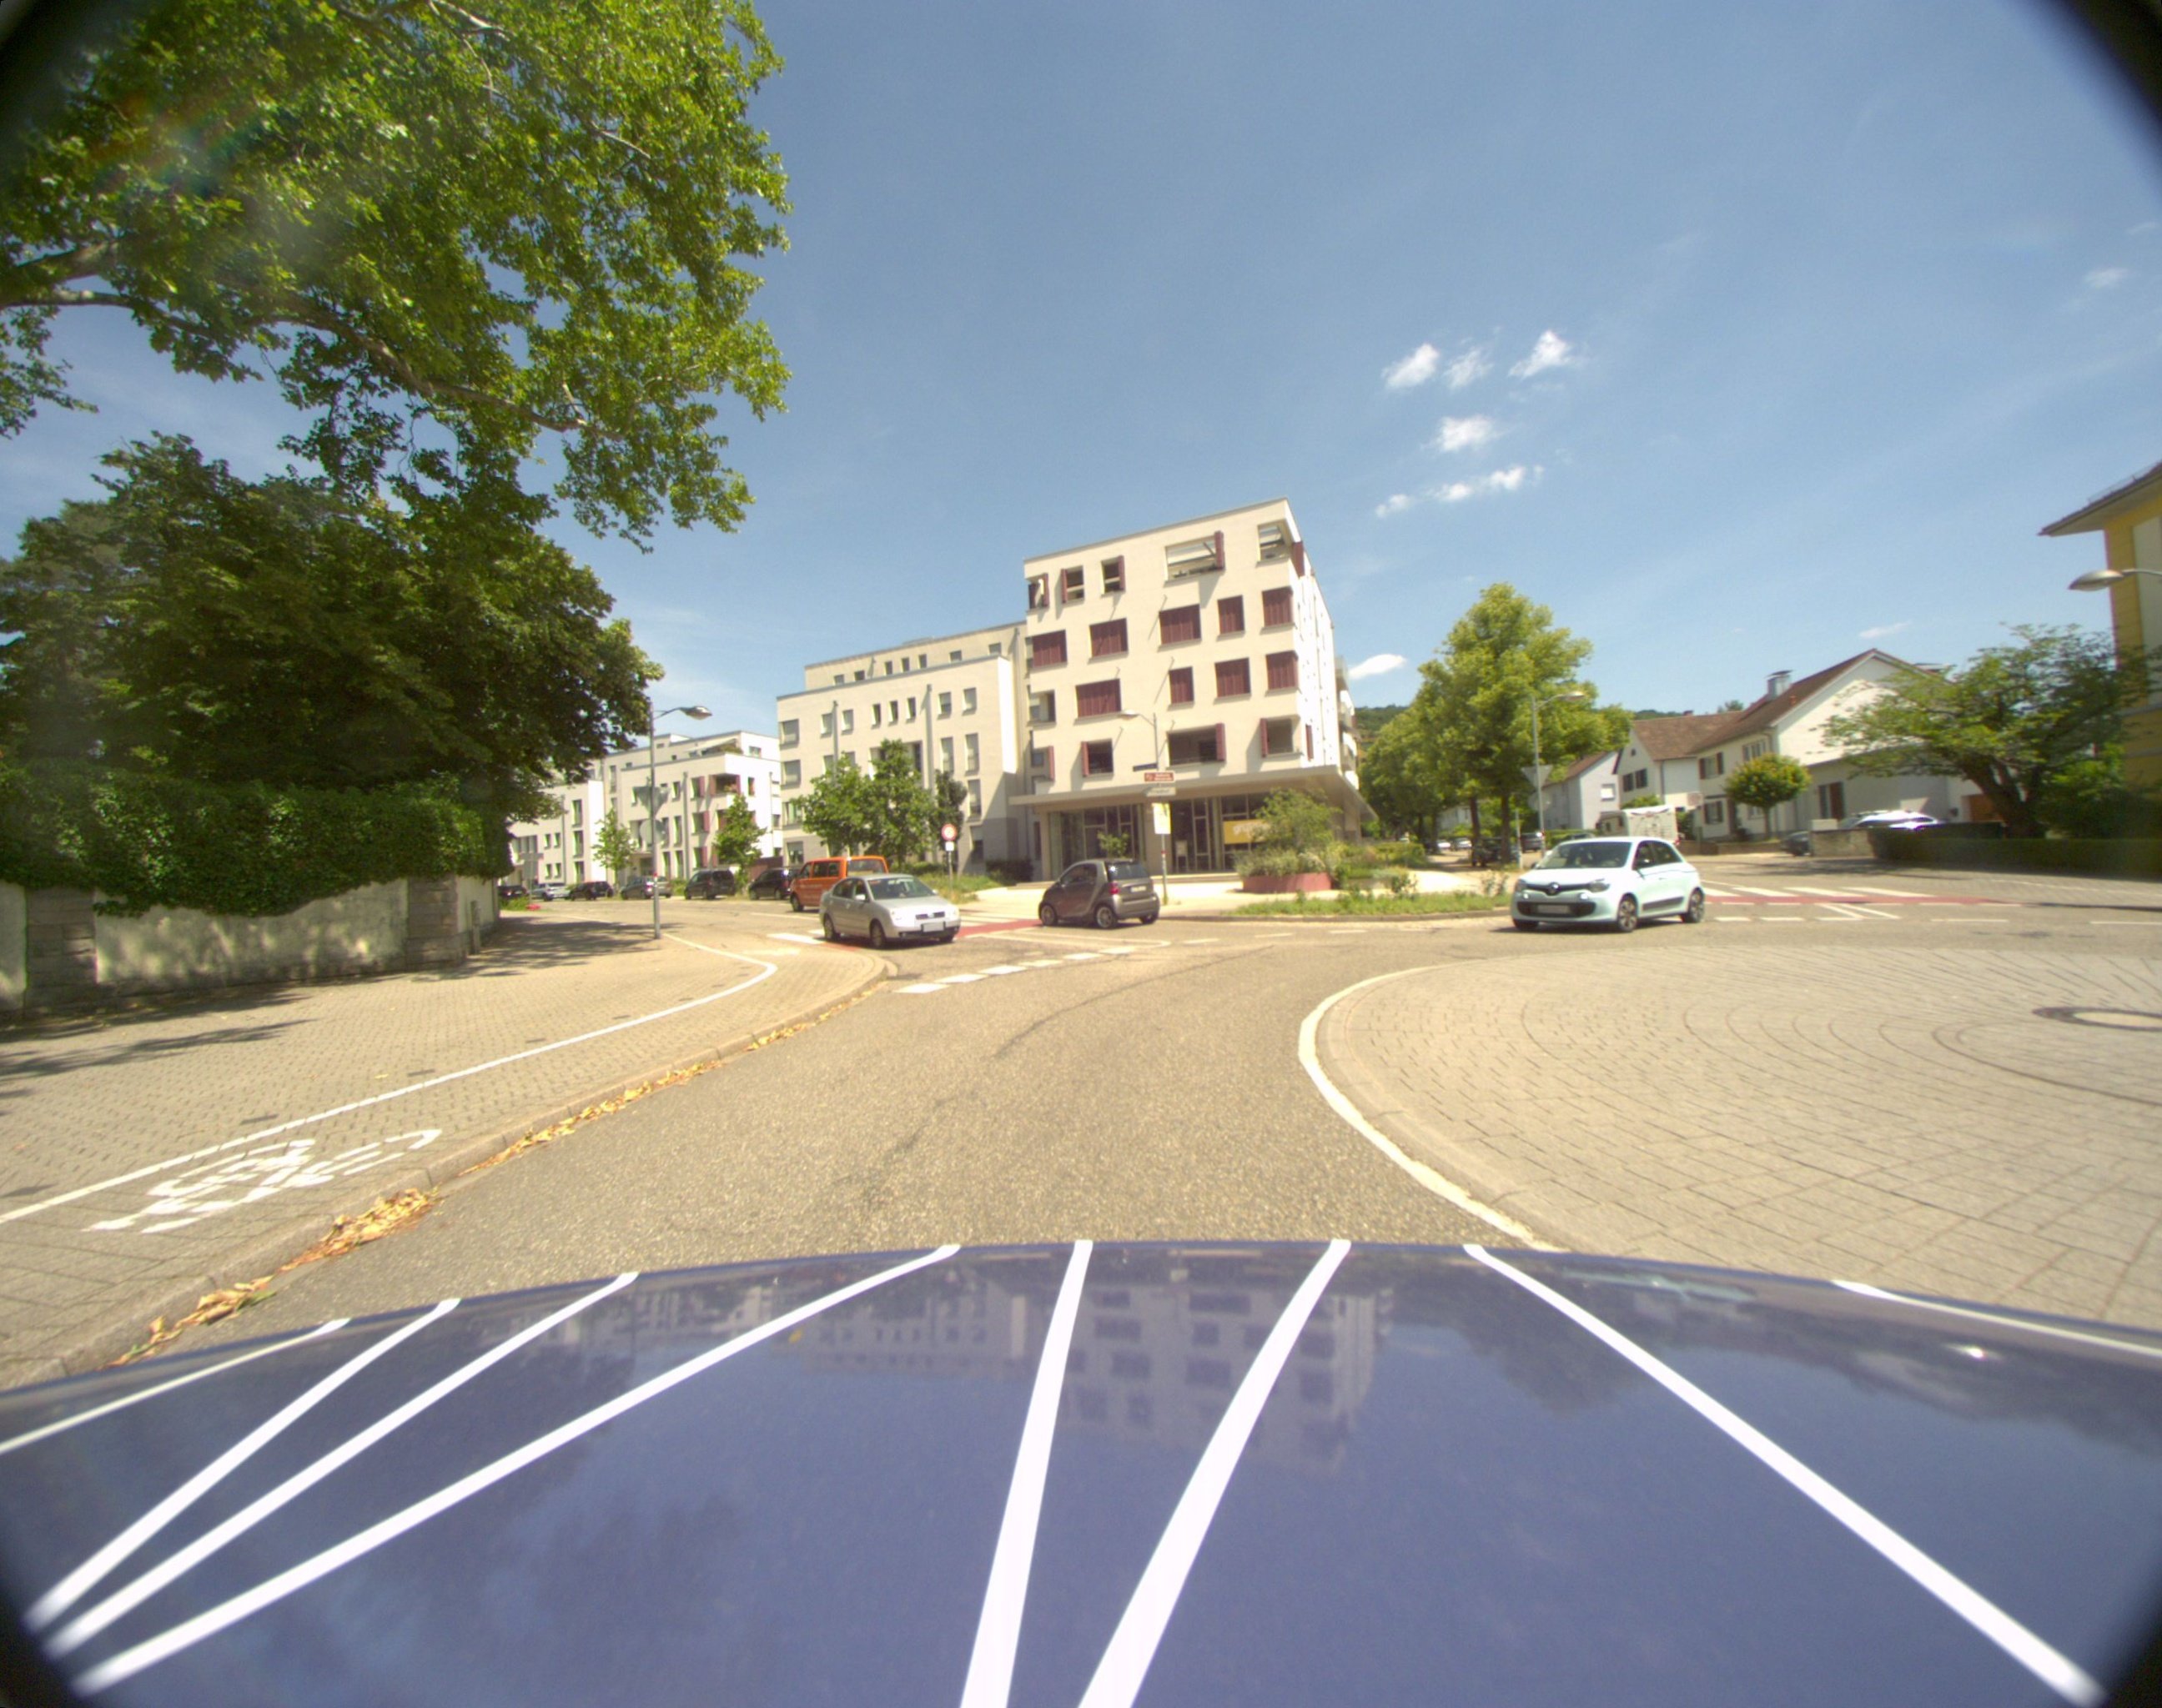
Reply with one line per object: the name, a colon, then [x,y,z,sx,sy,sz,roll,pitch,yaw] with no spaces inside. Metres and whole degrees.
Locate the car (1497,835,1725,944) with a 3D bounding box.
car: [9.052,0.528,12.879,4.169,1.516,1.657,-2,-1,-33]

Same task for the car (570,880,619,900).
car: [-36.108,2.678,56.403,3.618,1.405,1.710,-2,0,35]

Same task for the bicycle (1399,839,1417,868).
bicycle: [16.200,-0.026,37.627,0.569,1.370,1.750,-2,1,29]

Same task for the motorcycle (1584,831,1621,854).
motorcycle: [31.751,-0.707,46.243,2.236,1.312,0.738,-3,1,-22]

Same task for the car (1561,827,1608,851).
car: [33.328,-0.985,50.427,1.752,1.496,3.998,-3,0,22]

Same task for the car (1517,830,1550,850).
car: [38.373,-1.184,64.543,1.752,1.496,3.998,-3,0,22]

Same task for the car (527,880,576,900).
car: [-41.548,2.821,59.609,3.712,1.405,1.710,-2,0,32]

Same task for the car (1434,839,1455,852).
car: [49.814,-1.193,104.179,1.996,1.657,4.004,-2,1,19]

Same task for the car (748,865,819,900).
car: [-15.481,1.484,39.498,4.010,1.628,1.703,-2,0,41]

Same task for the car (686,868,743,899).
car: [-21.949,1.775,45.422,3.617,1.690,1.703,-2,0,41]

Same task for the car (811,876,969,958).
car: [-4.159,1.227,16.111,1.611,1.443,3.989,-3,0,-40]

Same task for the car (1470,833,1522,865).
car: [21.539,-0.271,39.561,1.753,1.496,3.998,-3,0,20]

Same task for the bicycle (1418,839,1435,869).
bicycle: [16.911,-0.013,37.222,0.569,1.370,1.750,-2,1,29]

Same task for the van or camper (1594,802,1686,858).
van or camper: [29.971,-1.256,40.982,2.270,2.622,5.893,-6,-1,21]

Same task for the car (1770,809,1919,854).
car: [30.824,-0.881,30.774,3.987,1.576,1.757,-3,0,7]

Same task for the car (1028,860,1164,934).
car: [0.311,0.955,17.655,2.781,1.521,1.573,-2,1,44]

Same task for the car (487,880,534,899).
car: [-47.384,2.936,63.092,3.712,1.405,1.710,-2,0,29]

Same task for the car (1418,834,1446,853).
car: [34.497,-1.035,74.760,1.996,1.657,4.004,-2,1,19]

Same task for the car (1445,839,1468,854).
car: [46.086,-0.961,93.340,1.996,1.657,4.004,-2,1,19]

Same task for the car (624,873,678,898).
car: [-29.239,2.160,51.604,3.618,1.580,1.794,-2,0,36]

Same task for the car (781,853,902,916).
car: [-8.654,1.066,27.222,1.953,1.948,5.007,-5,2,-44]

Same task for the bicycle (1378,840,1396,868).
bicycle: [15.370,-0.020,38.115,0.569,1.370,1.750,-2,1,29]
